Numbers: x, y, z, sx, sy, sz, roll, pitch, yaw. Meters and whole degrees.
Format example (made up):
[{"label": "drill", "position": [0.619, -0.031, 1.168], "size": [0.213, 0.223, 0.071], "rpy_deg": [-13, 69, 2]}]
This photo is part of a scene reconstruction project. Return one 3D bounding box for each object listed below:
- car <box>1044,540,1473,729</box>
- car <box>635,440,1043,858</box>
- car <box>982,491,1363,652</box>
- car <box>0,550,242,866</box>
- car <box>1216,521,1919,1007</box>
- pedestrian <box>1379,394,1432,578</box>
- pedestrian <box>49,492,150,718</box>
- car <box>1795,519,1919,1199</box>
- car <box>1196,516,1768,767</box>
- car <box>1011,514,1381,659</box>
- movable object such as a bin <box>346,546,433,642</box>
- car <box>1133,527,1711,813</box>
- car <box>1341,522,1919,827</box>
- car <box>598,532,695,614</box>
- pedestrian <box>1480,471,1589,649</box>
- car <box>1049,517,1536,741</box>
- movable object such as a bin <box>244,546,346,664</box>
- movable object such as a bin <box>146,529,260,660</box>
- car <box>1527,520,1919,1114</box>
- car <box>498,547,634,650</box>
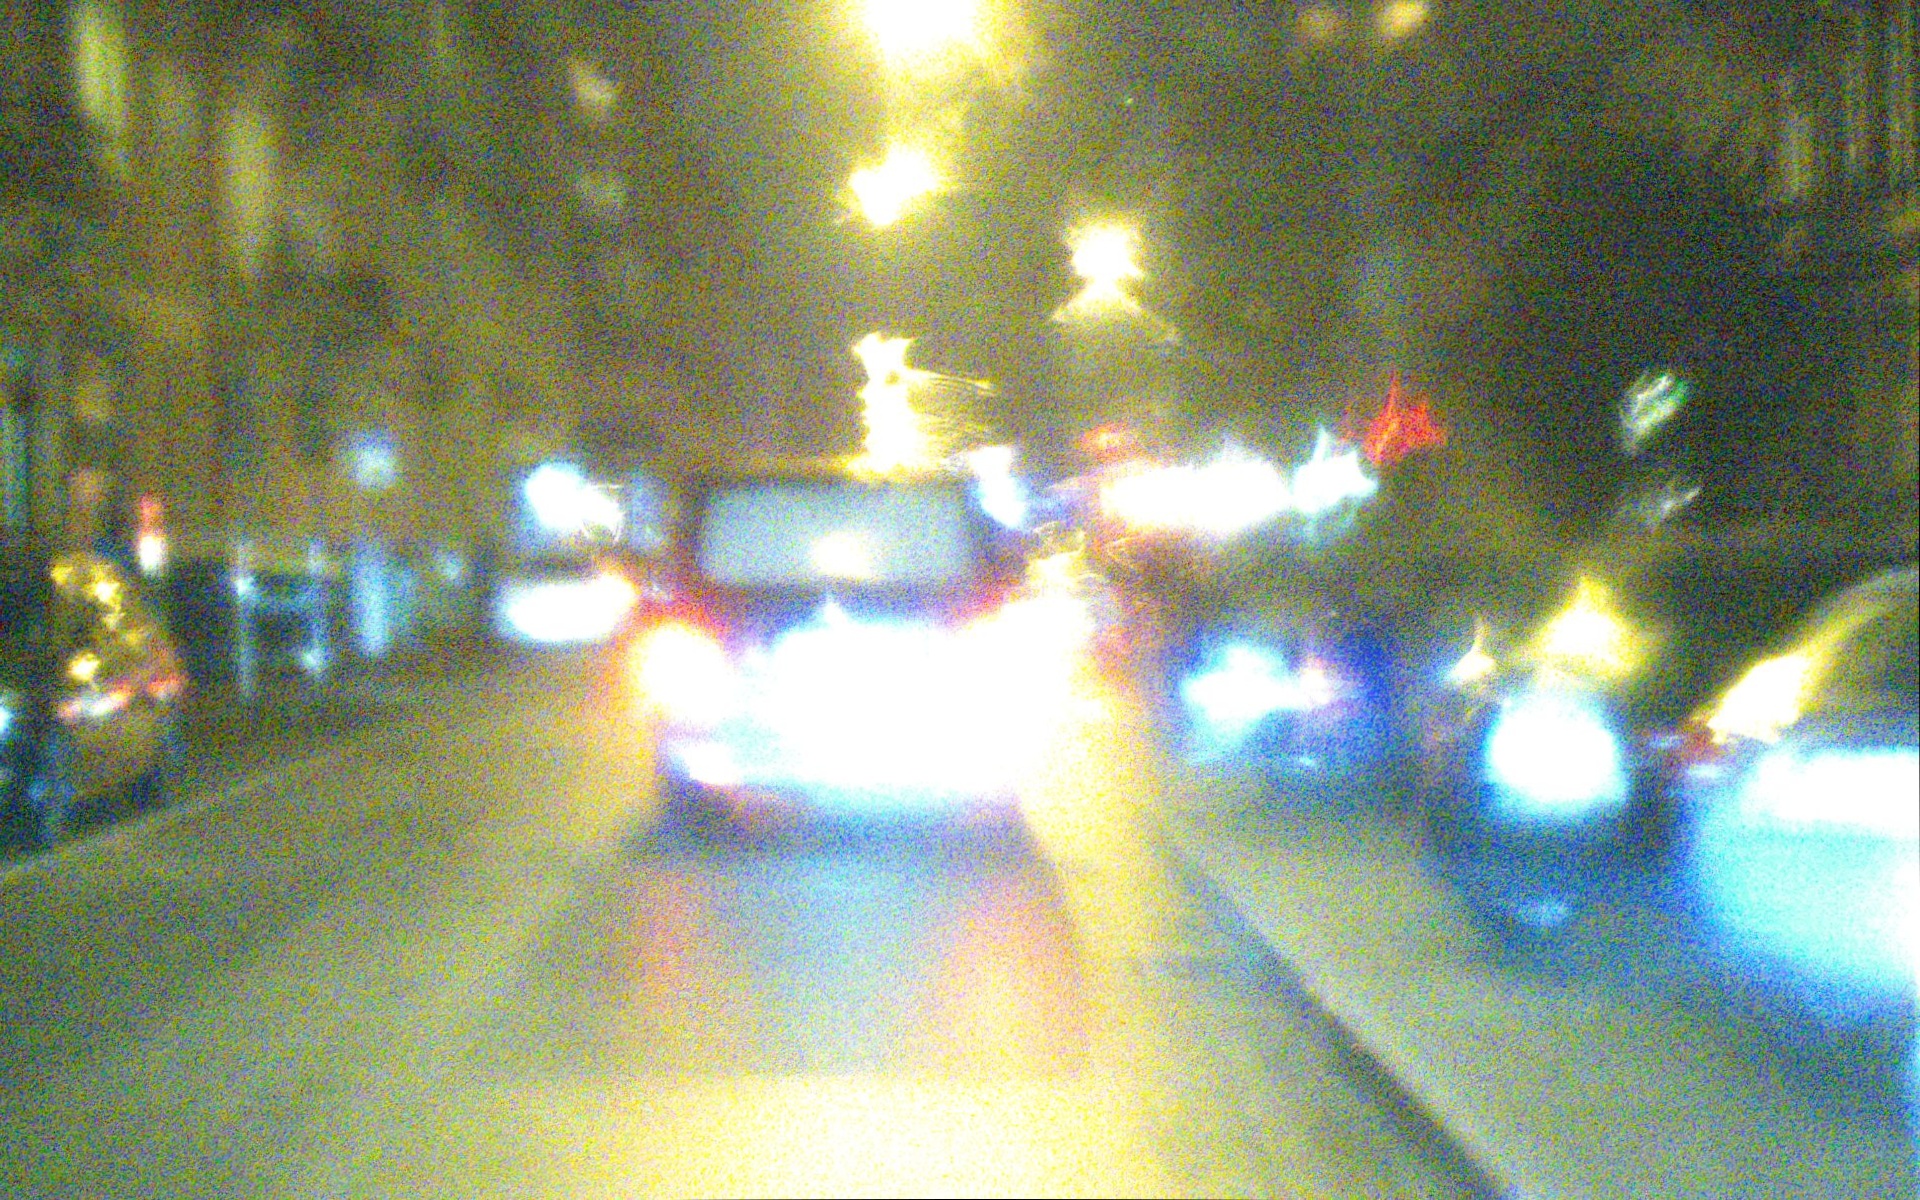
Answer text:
[{"label": "car", "position": [2.664, 0.259, 30.367], "size": [3.642, 1.575, 1.592], "rpy_deg": [-1, 1, -37]}, {"label": "car", "position": [-0.625, 0.229, 18.955], "size": [1.993, 2.043, 4.000], "rpy_deg": [0, 0, -1]}, {"label": "car", "position": [2.890, -0.422, 46.418], "size": [4.784, 2.042, 2.067], "rpy_deg": [-2, 2, -31]}, {"label": "car", "position": [-5.095, 0.483, 18.431], "size": [1.686, 1.450, 4.316], "rpy_deg": [0, 1, -1]}, {"label": "car", "position": [3.117, 0.495, 13.137], "size": [3.988, 1.547, 1.804], "rpy_deg": [-3, 1, -36]}, {"label": "pedestrian", "position": [8.537, -2.178, 65.888], "size": [0.891, 3.515, 0.791], "rpy_deg": [0, 1, -1]}, {"label": "pedestrian", "position": [-7.069, 0.037, 28.264], "size": [0.591, 1.814, 0.795], "rpy_deg": [2, 1, -1]}, {"label": "car", "position": [3.571, 0.549, 6.768], "size": [3.641, 1.536, 1.560], "rpy_deg": [-3, 1, -30]}, {"label": "car", "position": [3.590, 0.235, 23.524], "size": [3.641, 1.575, 1.593], "rpy_deg": [-1, 1, -29]}, {"label": "car", "position": [2.806, -0.172, 40.794], "size": [3.987, 1.487, 1.735], "rpy_deg": [-3, 1, -26]}, {"label": "movable object such as a bin", "position": [-8.459, -0.102, 51.007], "size": [1.048, 1.394, 1.158], "rpy_deg": [1, 1, 2]}, {"label": "car", "position": [2.825, 0.366, 20.499], "size": [1.603, 1.455, 3.675], "rpy_deg": [-2, 1, 41]}, {"label": "car", "position": [4.131, 0.340, 18.904], "size": [3.988, 1.447, 1.687], "rpy_deg": [-3, 1, -39]}, {"label": "car", "position": [-6.088, -0.547, 67.075], "size": [1.812, 1.552, 4.077], "rpy_deg": [0, 1, -4]}, {"label": "pedestrian", "position": [6.188, -0.434, 37.076], "size": [0.868, 1.849, 0.993], "rpy_deg": [-3, 1, -3]}, {"label": "car", "position": [2.584, 0.171, 26.305], "size": [3.643, 1.575, 1.592], "rpy_deg": [-2, 1, -40]}, {"label": "movable object such as a bin", "position": [-8.049, 0.053, 41.667], "size": [0.975, 1.394, 1.133], "rpy_deg": [1, 1, 2]}, {"label": "movable object such as a bin", "position": [-8.410, -0.069, 38.218], "size": [0.975, 1.415, 1.133], "rpy_deg": [1, 1, 2]}, {"label": "car", "position": [3.851, 0.497, 10.429], "size": [3.988, 1.547, 1.999], "rpy_deg": [-3, 1, -38]}, {"label": "car", "position": [-5.861, -0.046, 51.500], "size": [1.587, 1.477, 3.793], "rpy_deg": [0, 1, 0]}]
